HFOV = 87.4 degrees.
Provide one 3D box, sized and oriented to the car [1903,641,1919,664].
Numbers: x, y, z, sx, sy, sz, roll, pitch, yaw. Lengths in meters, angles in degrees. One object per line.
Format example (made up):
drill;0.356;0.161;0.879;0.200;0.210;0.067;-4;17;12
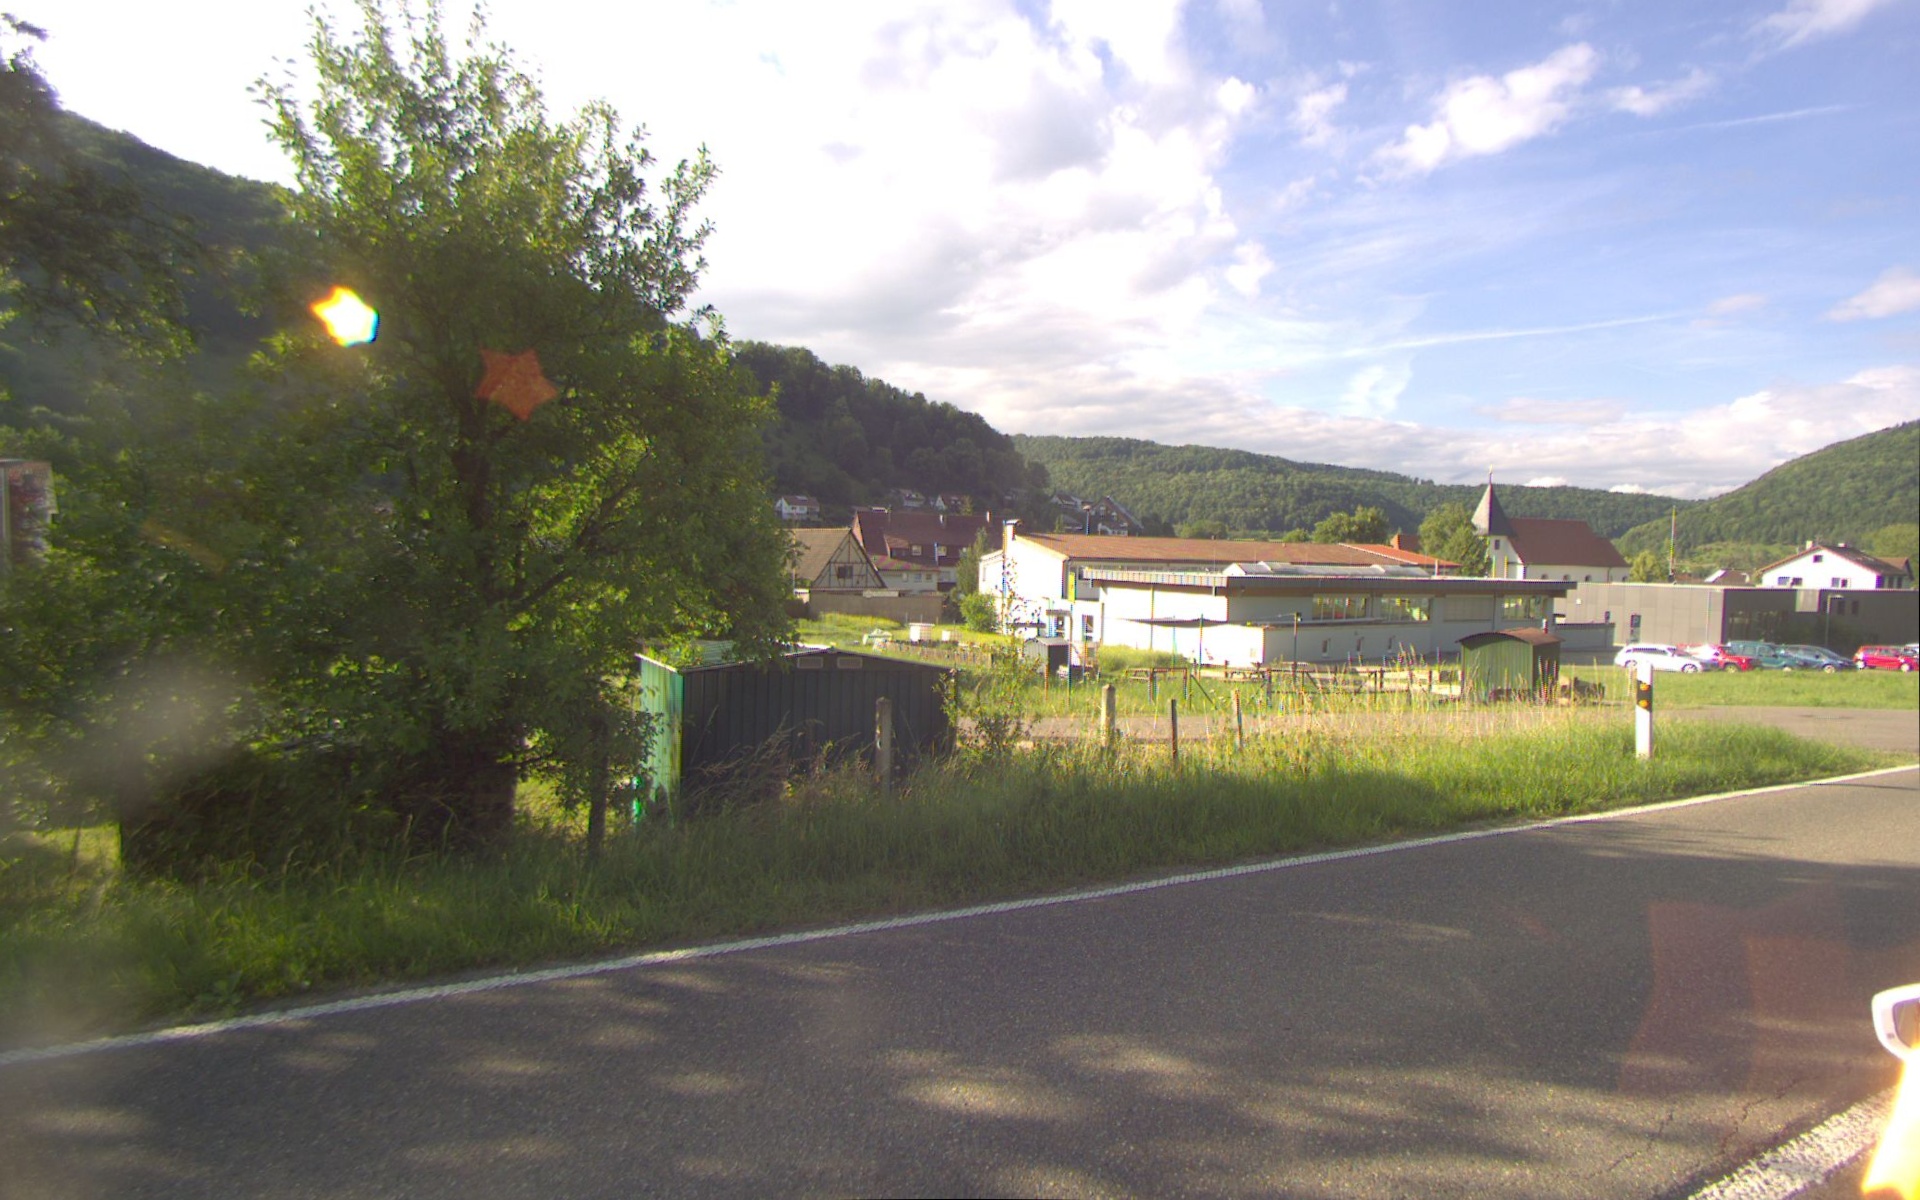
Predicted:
car;66.837;3.629;68.309;1.575;1.513;3.655;0;0;-25

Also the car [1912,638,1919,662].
car;69.523;3.542;70.167;1.575;1.695;4.065;0;0;-25

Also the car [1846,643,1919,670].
car;59.617;3.606;64.580;1.626;1.463;3.613;0;1;-25

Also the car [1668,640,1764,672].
car;41.621;3.049;55.364;1.733;1.600;3.906;2;-2;-26

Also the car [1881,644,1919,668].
car;64.024;3.735;66.928;1.575;1.424;3.613;-2;0;-25

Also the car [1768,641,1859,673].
car;50.789;3.369;59.855;1.709;1.744;3.805;2;-1;-26

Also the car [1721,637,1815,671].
car;46.577;3.067;57.972;1.734;1.745;3.845;2;0;-28

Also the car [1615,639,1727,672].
car;38.679;3.009;54.796;1.974;1.610;4.625;2;-1;-26
